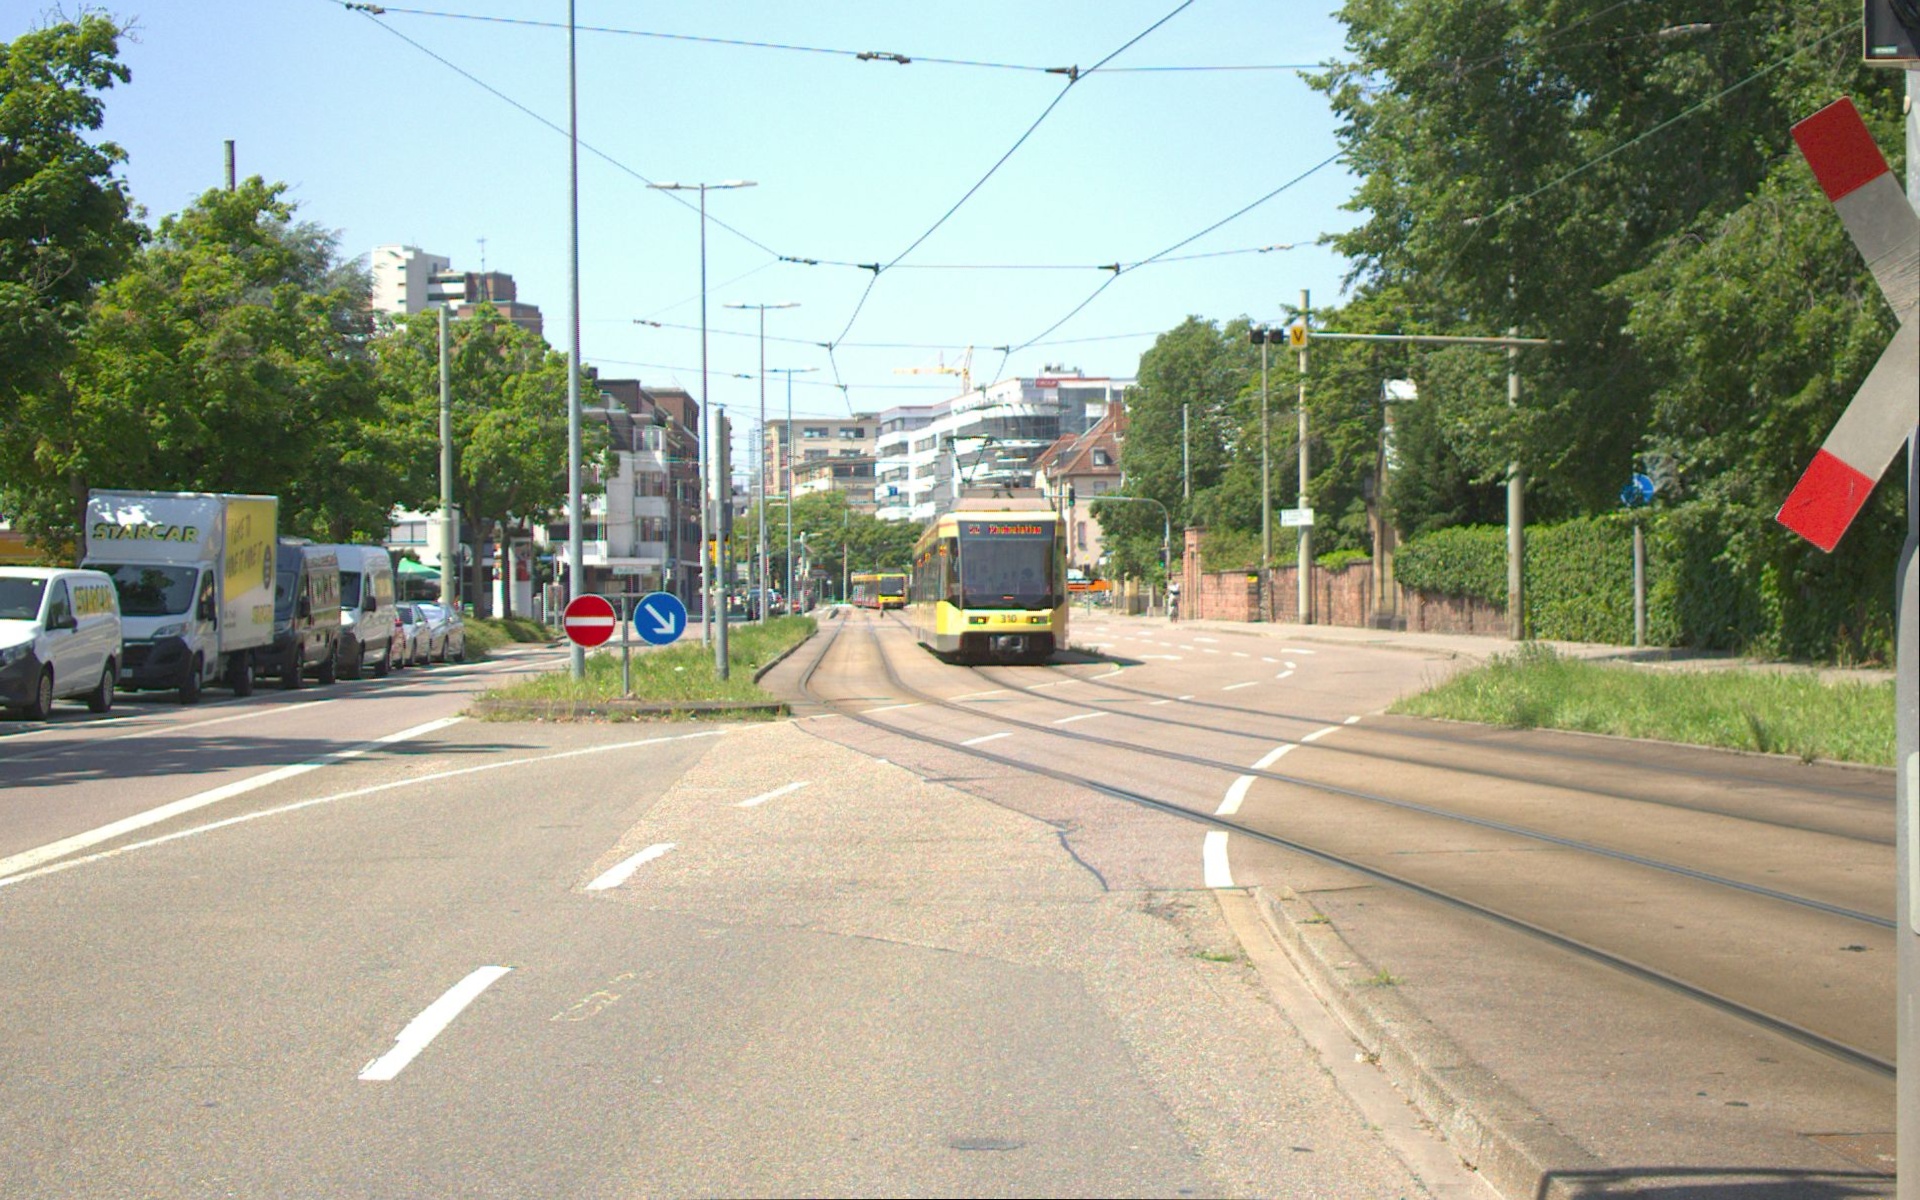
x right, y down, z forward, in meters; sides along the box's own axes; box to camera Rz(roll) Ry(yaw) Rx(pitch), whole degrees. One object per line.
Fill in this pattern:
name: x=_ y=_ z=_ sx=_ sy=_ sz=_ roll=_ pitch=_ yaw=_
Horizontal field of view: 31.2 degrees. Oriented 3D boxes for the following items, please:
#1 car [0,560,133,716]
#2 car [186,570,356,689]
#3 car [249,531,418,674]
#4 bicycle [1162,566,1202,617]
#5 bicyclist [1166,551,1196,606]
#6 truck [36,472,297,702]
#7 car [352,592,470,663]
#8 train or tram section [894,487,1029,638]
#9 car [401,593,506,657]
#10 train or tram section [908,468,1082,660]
car: x=-12.231 y=0.452 z=44.215 sx=2.061 sy=1.891 sz=4.871 roll=-1 pitch=0 yaw=-1
car: x=-12.059 y=0.476 z=60.461 sx=2.061 sy=1.970 sz=4.871 roll=-1 pitch=0 yaw=-1
car: x=-12.364 y=0.027 z=68.225 sx=2.157 sy=2.630 sz=5.611 roll=3 pitch=1 yaw=1
bicycle: x=8.561 y=-0.338 z=132.529 sx=1.092 sy=1.901 sz=3.682 roll=-1 pitch=0 yaw=-3
bicyclist: x=8.526 y=-0.818 z=132.676 sx=1.096 sy=2.101 sz=1.031 roll=0 pitch=0 yaw=-1
truck: x=-12.068 y=-0.219 z=52.862 sx=2.157 sy=3.199 sz=7.082 roll=3 pitch=1 yaw=1
car: x=-12.967 y=0.626 z=81.489 sx=2.061 sy=1.576 sz=4.871 roll=-1 pitch=0 yaw=-1
train or tram section: x=-0.164 y=-1.023 z=94.612 sx=2.943 sy=3.679 sz=20.285 roll=0 pitch=1 yaw=-2
car: x=-13.101 y=0.626 z=89.116 sx=2.061 sy=1.576 sz=4.871 roll=-1 pitch=0 yaw=-1
train or tram section: x=0.541 y=-0.787 z=75.318 sx=2.943 sy=3.679 sz=18.391 roll=0 pitch=1 yaw=-2
